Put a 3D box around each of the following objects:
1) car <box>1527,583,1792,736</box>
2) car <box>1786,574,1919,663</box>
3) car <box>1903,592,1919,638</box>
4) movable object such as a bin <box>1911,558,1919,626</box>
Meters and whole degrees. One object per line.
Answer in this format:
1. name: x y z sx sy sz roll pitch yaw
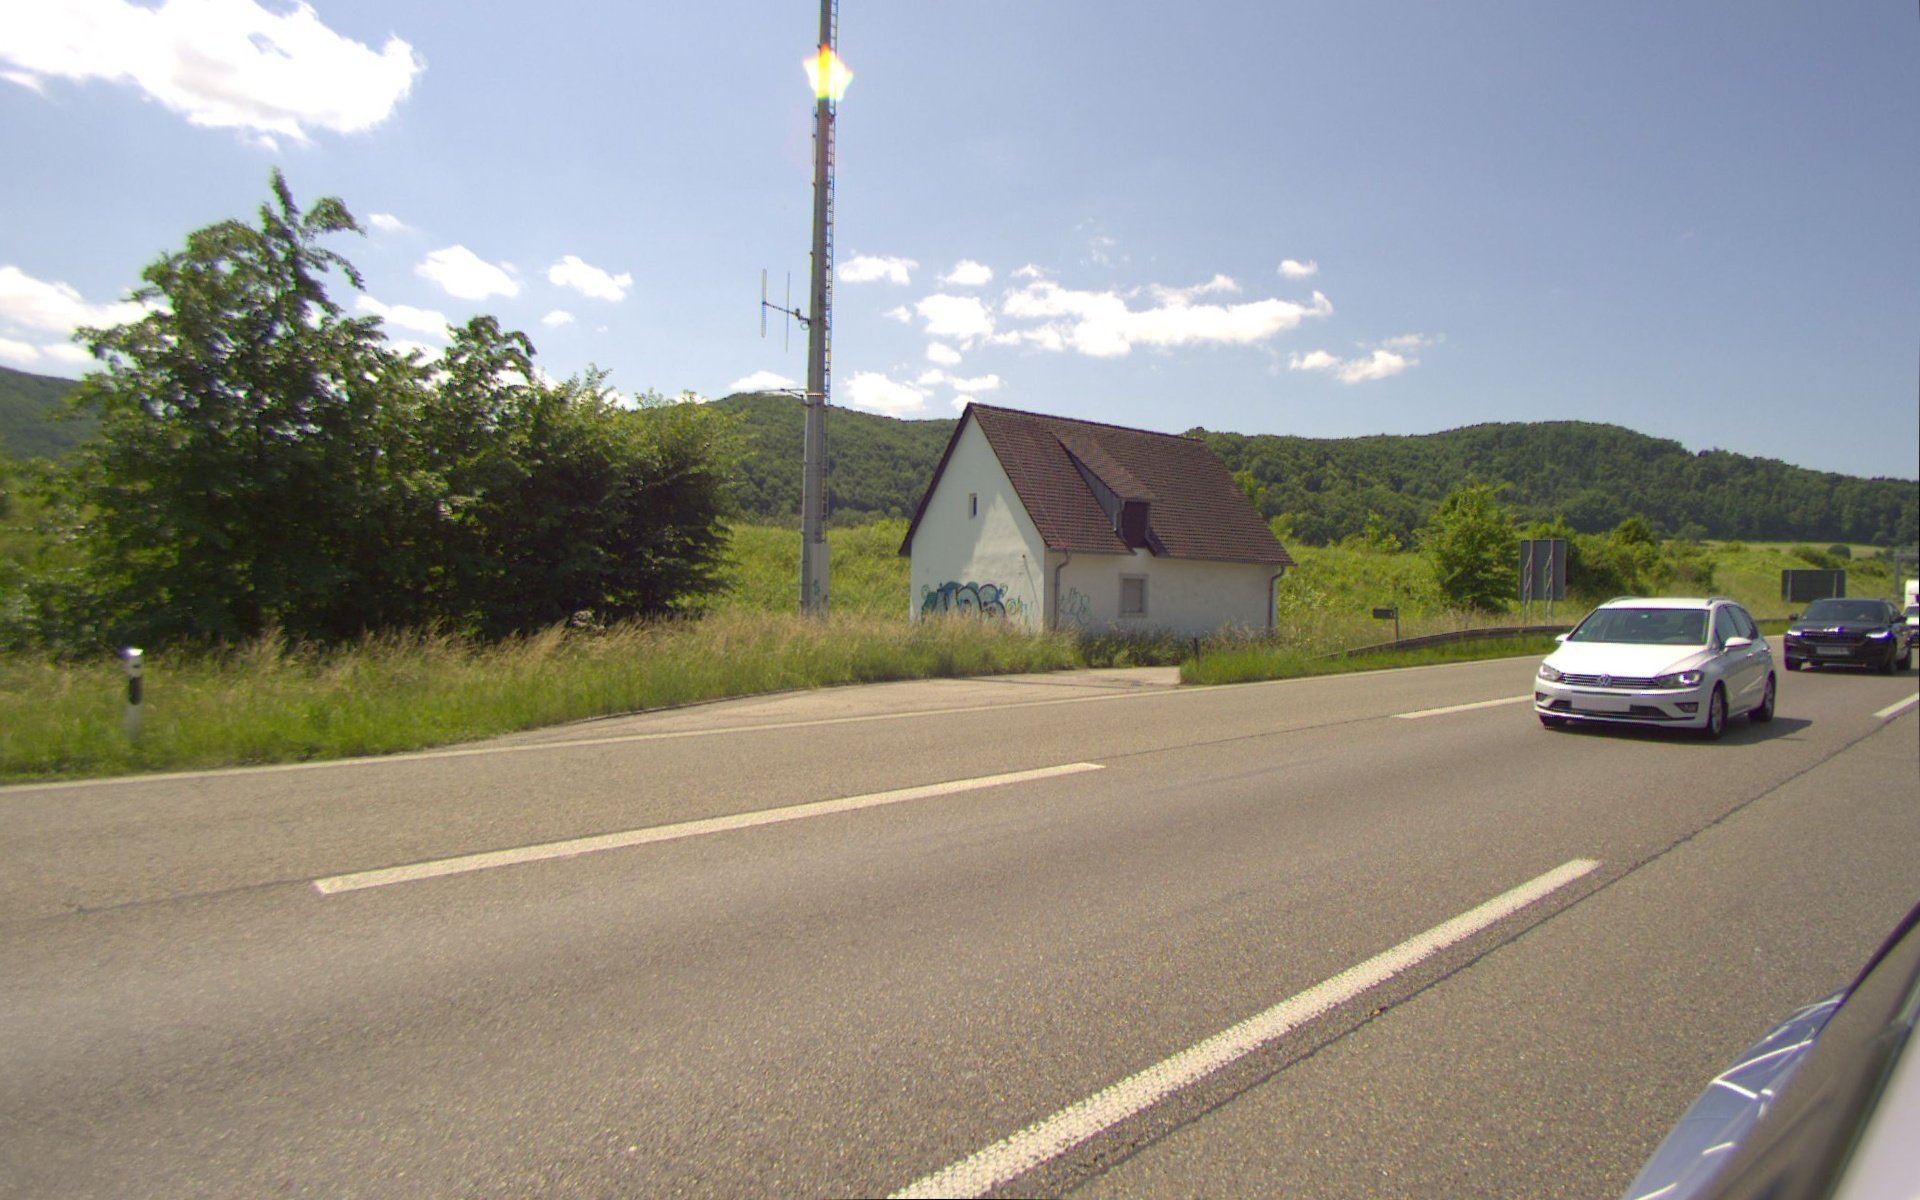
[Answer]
1. car: 8.601 0.596 12.319 3.984 1.560 1.775 0 0 -42
2. car: 20.335 0.373 22.822 4.097 1.794 1.893 0 1 -40
3. car: 35.208 0.529 36.125 3.929 1.603 1.820 0 0 -41
4. movable object such as a bin: 40.441 -0.303 40.720 6.590 2.665 2.479 0 0 -41
